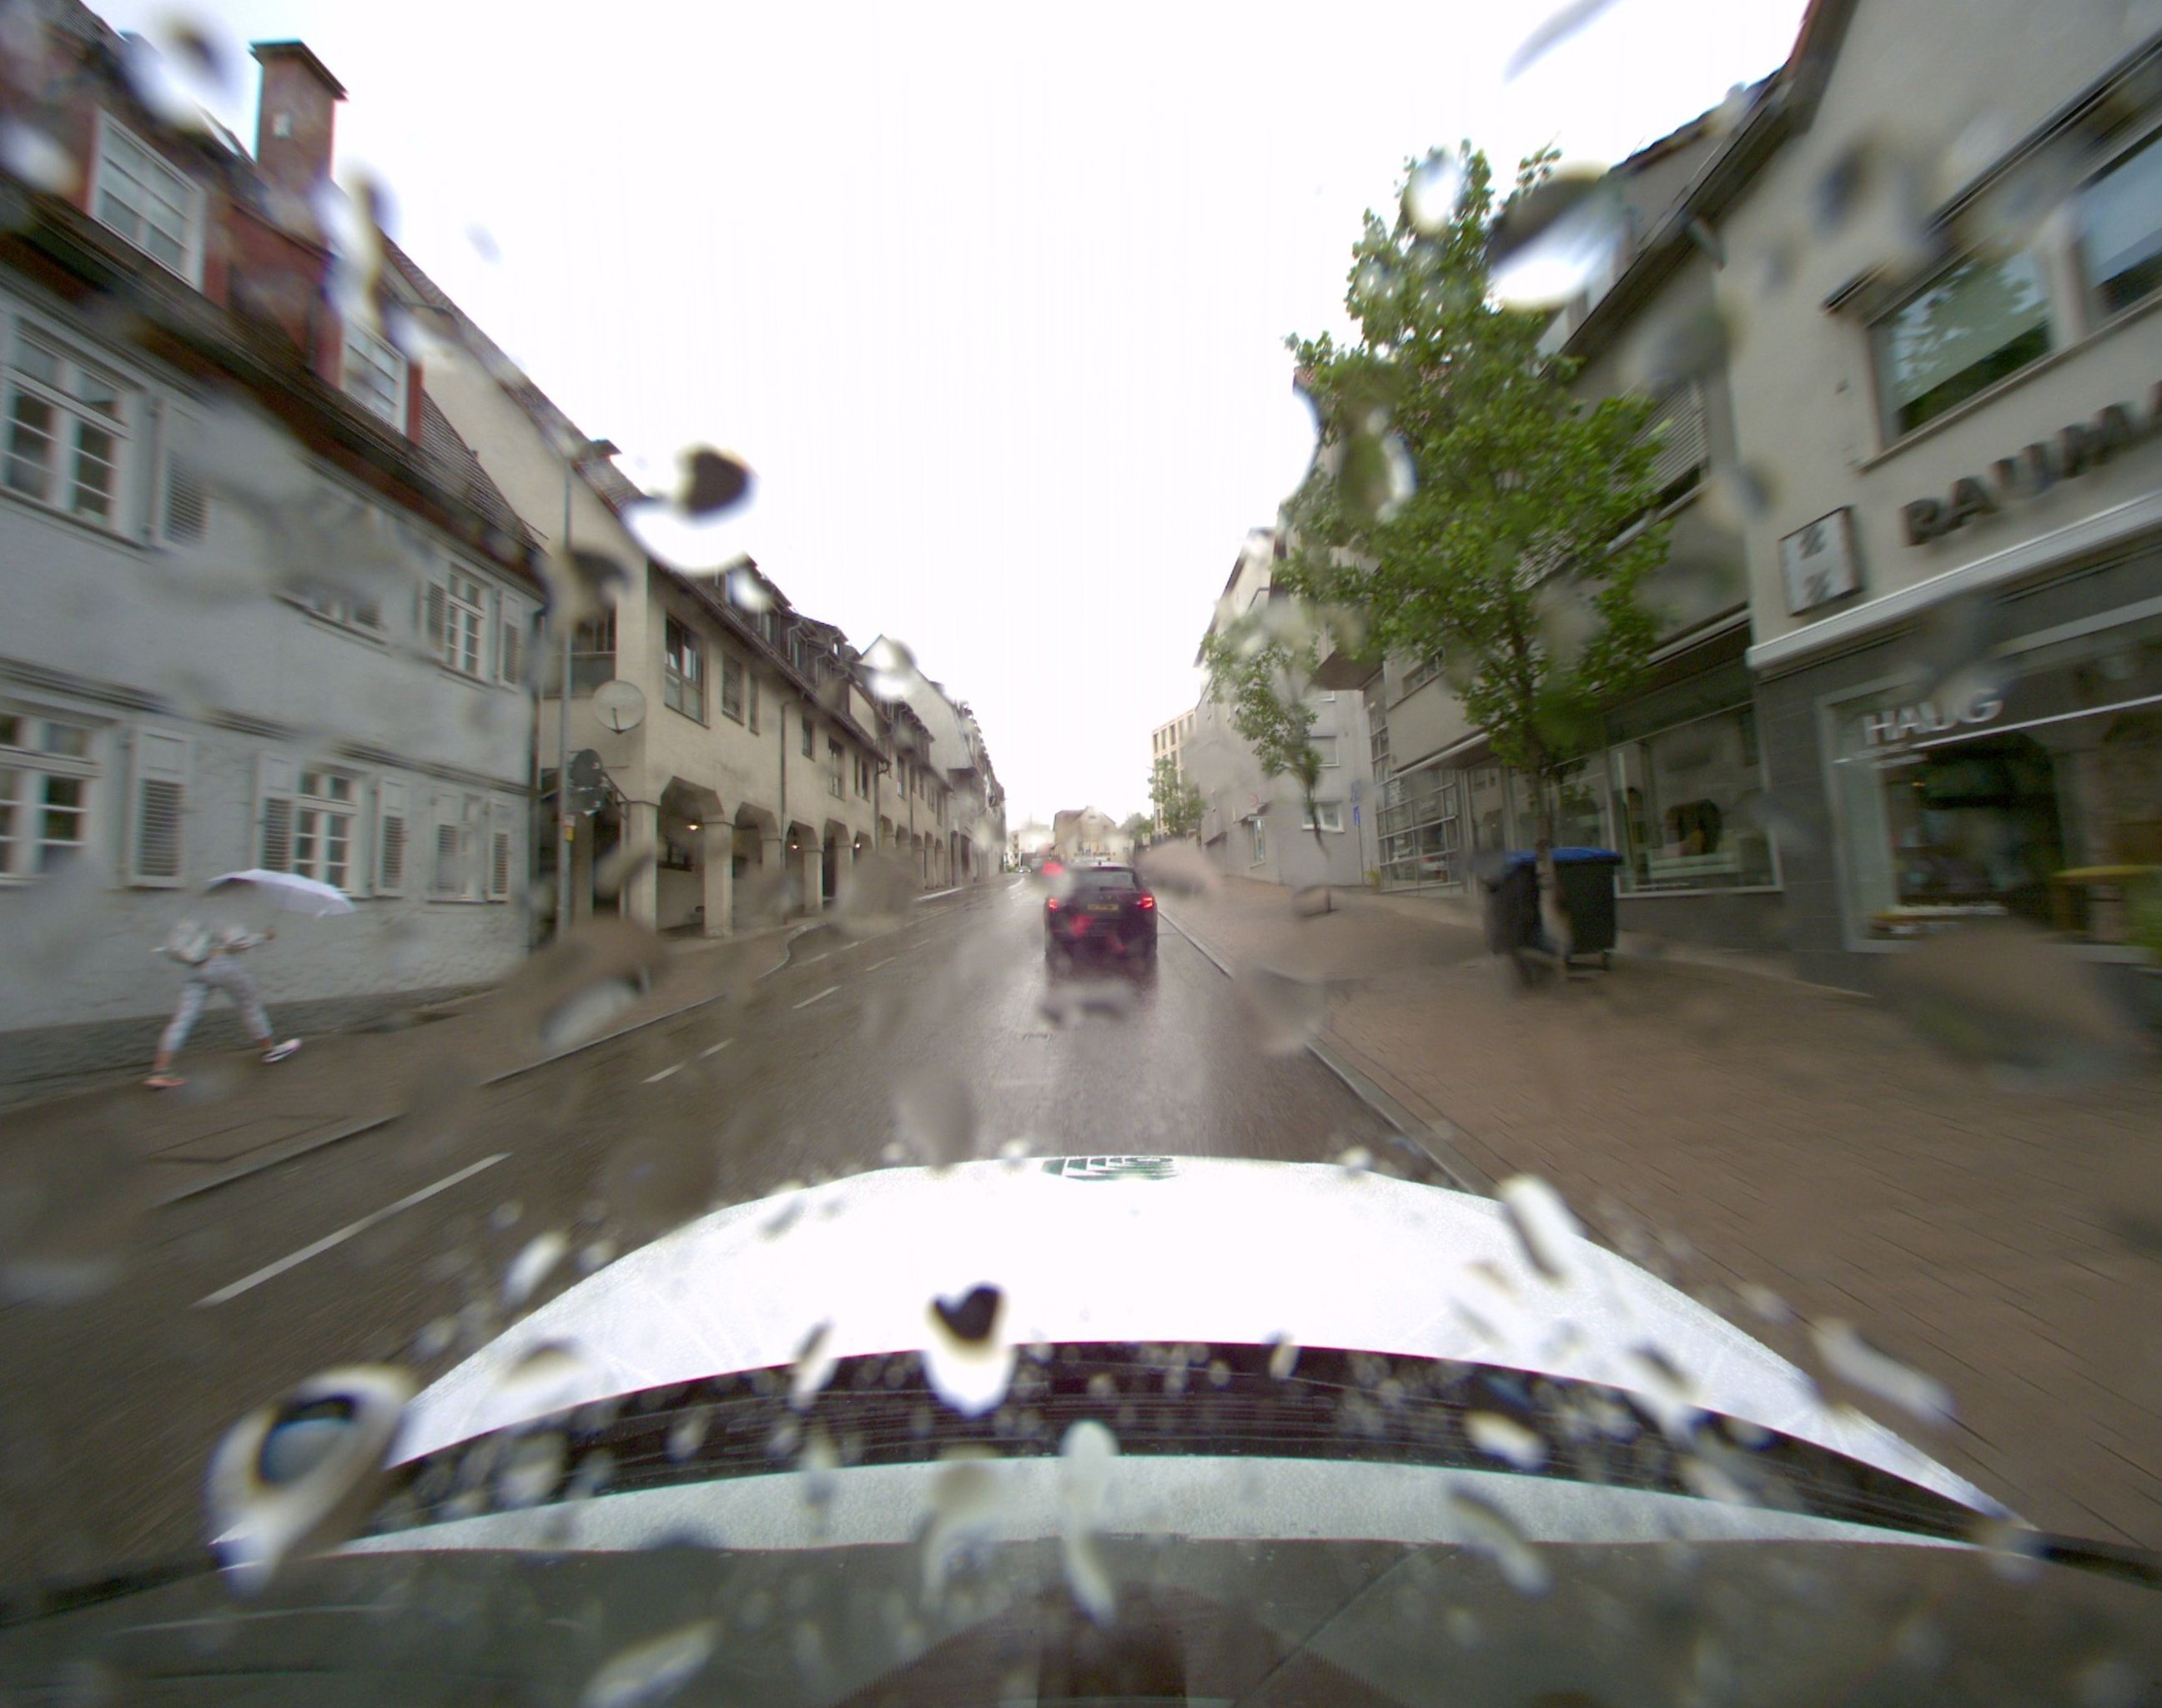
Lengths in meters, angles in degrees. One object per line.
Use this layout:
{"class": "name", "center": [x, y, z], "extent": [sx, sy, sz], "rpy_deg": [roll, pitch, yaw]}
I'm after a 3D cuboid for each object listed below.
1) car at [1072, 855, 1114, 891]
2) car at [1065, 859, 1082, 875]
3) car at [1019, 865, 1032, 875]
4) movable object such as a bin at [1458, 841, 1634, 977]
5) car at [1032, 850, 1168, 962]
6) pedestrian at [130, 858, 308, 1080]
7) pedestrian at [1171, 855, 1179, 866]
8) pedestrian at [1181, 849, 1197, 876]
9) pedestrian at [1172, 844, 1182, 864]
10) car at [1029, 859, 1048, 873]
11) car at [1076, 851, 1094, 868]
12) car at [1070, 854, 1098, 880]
{"class": "car", "center": [0.492, 0.845, 37.303], "extent": [1.673, 1.510, 3.585], "rpy_deg": [-2, 0, -3]}
{"class": "car", "center": [-1.002, 1.771, 109.363], "extent": [1.986, 2.014, 4.001], "rpy_deg": [-3, -1, 2]}
{"class": "car", "center": [-8.659, 2.467, 127.101], "extent": [1.676, 1.409, 3.579], "rpy_deg": [-2, 0, -8]}
{"class": "movable object such as a bin", "center": [5.079, 0.565, 9.011], "extent": [1.230, 1.335, 1.173], "rpy_deg": [-4, 0, 2]}
{"class": "car", "center": [0.359, 0.771, 14.118], "extent": [1.937, 1.567, 4.419], "rpy_deg": [-2, 0, 2]}
{"class": "pedestrian", "center": [-7.148, 0.909, 6.790], "extent": [0.685, 1.740, 0.736], "rpy_deg": [0, -1, 3]}
{"class": "pedestrian", "center": [9.883, 0.682, 85.507], "extent": [0.670, 1.162, 0.635], "rpy_deg": [-4, -1, 0]}
{"class": "pedestrian", "center": [6.390, 0.512, 48.219], "extent": [0.733, 1.542, 1.039], "rpy_deg": [-5, -1, 3]}
{"class": "pedestrian", "center": [9.924, 0.008, 84.120], "extent": [0.779, 1.940, 1.021], "rpy_deg": [-4, -1, 0]}
{"class": "car", "center": [-4.964, 1.385, 94.948], "extent": [1.669, 1.510, 3.594], "rpy_deg": [-2, 0, 5]}
{"class": "car", "center": [0.428, 0.572, 82.307], "extent": [1.675, 1.560, 3.999], "rpy_deg": [-3, 0, 0]}
{"class": "car", "center": [0.186, 0.809, 52.119], "extent": [1.675, 1.560, 3.999], "rpy_deg": [-3, 0, 0]}
